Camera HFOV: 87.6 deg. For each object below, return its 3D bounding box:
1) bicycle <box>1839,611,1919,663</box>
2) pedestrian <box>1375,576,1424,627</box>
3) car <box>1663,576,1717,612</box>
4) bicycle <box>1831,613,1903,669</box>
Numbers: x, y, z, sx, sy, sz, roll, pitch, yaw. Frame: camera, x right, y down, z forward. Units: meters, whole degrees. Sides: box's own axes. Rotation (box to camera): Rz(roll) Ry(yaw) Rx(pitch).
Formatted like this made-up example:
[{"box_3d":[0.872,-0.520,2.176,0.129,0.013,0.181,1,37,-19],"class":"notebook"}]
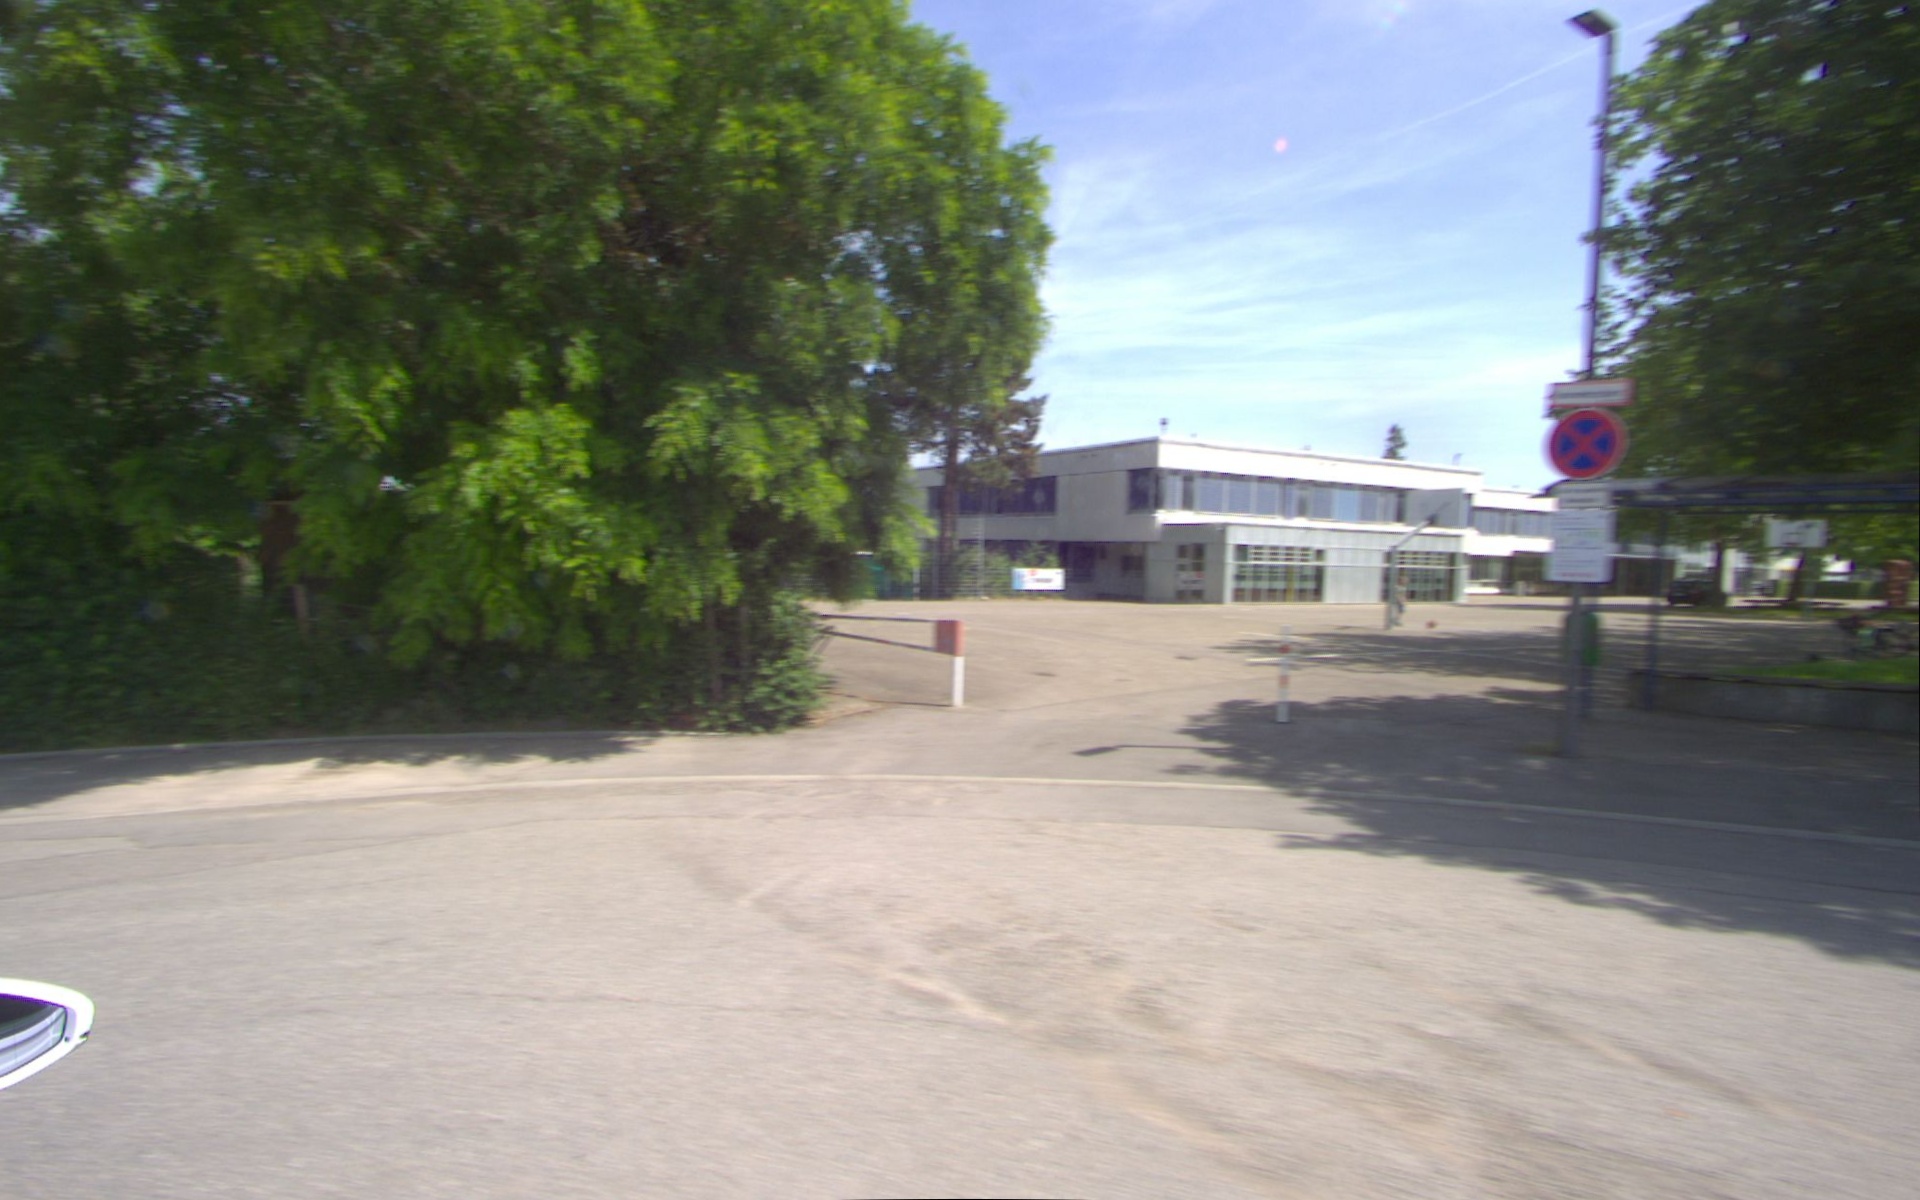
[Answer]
[{"box_3d":[19.884,0.777,21.079,2.046,1.053,0.567,1,1,43],"class":"bicycle"},{"box_3d":[13.108,0.039,29.843,1.057,1.443,0.912,3,3,42],"class":"pedestrian"},{"box_3d":[39.611,-0.304,54.295,3.375,1.860,1.680,0,2,-43],"class":"car"},{"box_3d":[18.169,0.807,20.057,1.867,1.053,0.593,0,1,-33],"class":"bicycle"}]
